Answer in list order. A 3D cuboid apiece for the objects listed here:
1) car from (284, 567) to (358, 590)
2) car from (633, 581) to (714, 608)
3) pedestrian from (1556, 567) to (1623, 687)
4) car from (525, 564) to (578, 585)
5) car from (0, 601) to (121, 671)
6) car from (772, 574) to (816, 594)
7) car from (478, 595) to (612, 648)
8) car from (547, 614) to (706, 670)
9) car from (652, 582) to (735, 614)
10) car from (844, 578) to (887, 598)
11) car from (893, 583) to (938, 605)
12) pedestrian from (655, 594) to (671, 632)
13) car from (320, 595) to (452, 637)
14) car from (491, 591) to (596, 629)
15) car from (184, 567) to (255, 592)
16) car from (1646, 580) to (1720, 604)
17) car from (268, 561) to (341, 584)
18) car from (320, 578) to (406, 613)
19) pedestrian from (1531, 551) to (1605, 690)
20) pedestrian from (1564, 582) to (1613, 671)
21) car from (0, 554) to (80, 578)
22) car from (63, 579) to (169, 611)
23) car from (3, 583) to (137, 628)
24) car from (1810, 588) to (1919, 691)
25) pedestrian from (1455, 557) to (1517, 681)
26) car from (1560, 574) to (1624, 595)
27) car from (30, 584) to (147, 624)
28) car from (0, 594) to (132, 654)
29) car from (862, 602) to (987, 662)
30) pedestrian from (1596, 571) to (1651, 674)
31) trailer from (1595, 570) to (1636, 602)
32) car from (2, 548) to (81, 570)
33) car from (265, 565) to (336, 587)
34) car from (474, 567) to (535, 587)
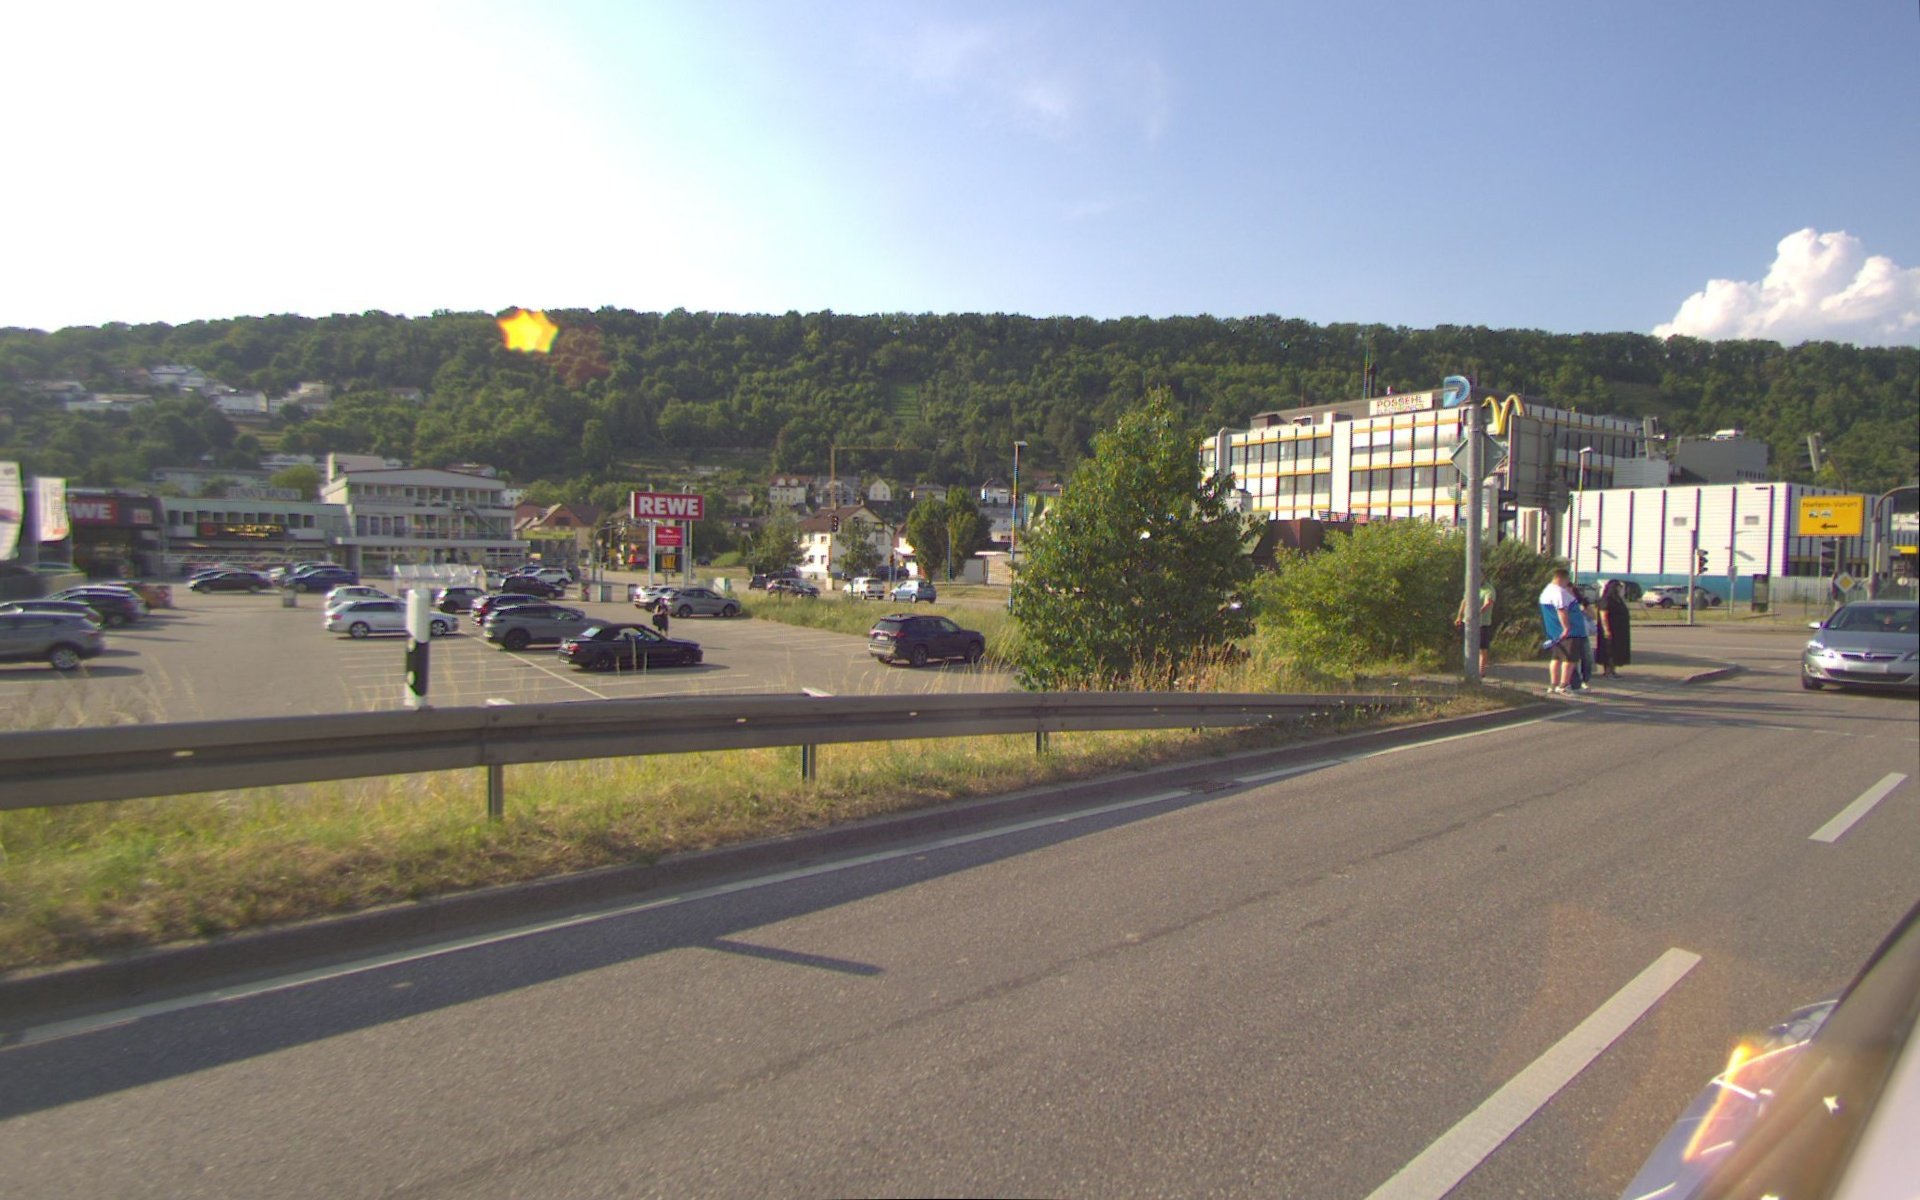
[{"bbox_3d":[-45.813,-1.548,72.546,4.265,1.582,1.835,-2,4,-41],"label":"car"},{"bbox_3d":[-17.375,-0.348,61.435,4.353,1.544,2.001,-1,1,-33],"label":"car"},{"bbox_3d":[9.286,0.375,14.942,0.622,1.703,0.596,-1,4,-41],"label":"pedestrian"},{"bbox_3d":[-35.105,-2.197,87.007,3.931,1.676,1.789,-2,1,-41],"label":"car"},{"bbox_3d":[-25.819,0.982,27.926,4.059,1.723,1.835,-2,4,-41],"label":"car"},{"bbox_3d":[-11.979,-1.171,73.003,2.893,1.369,1.344,-2,1,-39],"label":"car"},{"bbox_3d":[-15.225,0.738,37.149,4.259,1.750,2.001,-1,1,-32],"label":"car"},{"bbox_3d":[-10.276,1.251,31.302,4.266,1.390,1.999,-2,3,-39],"label":"car"},{"bbox_3d":[-14.998,-0.139,57.002,4.080,1.727,2.000,-2,1,-36],"label":"car"},{"bbox_3d":[-7.154,-0.890,76.119,1.657,1.438,3.654,-1,1,-34],"label":"car"},{"bbox_3d":[-3.142,-0.438,70.716,1.548,1.504,3.323,-1,1,-37],"label":"car"},{"bbox_3d":[-11.639,0.509,39.634,0.556,1.477,0.381,-1,1,-14],"label":"pedestrian"},{"bbox_3d":[-23.224,0.613,41.019,4.451,1.526,1.908,-2,1,-37],"label":"car"},{"bbox_3d":[-18.264,0.397,44.491,3.930,1.527,1.728,-2,1,-40],"label":"car"},{"bbox_3d":[-50.389,-1.416,68.905,3.834,1.582,1.837,-1,3,-37],"label":"car"},{"bbox_3d":[49.853,-0.564,69.811,3.830,1.523,1.879,-1,1,-4],"label":"car"},{"bbox_3d":[-48.121,-2.029,74.342,4.265,1.582,1.835,-2,4,-41],"label":"car"},{"bbox_3d":[-31.850,-0.277,54.025,3.691,1.771,1.802,-2,1,-39],"label":"car"},{"bbox_3d":[8.680,0.269,14.441,0.846,1.906,0.620,-1,3,-41],"label":"pedestrian"},{"bbox_3d":[10.646,0.434,17.139,0.612,1.475,0.572,-1,1,-44],"label":"pedestrian"},{"bbox_3d":[-66.343,-2.455,72.834,4.506,1.607,1.835,-2,4,-41],"label":"car"},{"bbox_3d":[-41.170,-0.266,49.481,3.929,1.527,1.728,-1,1,-40],"label":"car"},{"bbox_3d":[-37.221,0.184,42.473,4.052,1.723,1.838,-1,3,-36],"label":"car"},{"bbox_3d":[15.160,0.559,16.205,3.814,1.408,1.690,-2,3,-39],"label":"car"},{"bbox_3d":[7.825,0.268,15.065,0.527,1.770,0.533,-1,5,-35],"label":"pedestrian"},{"bbox_3d":[46.535,-1.123,74.556,3.699,1.473,1.700,-1,1,-7],"label":"car"},{"bbox_3d":[-38.711,0.127,45.092,3.872,1.582,1.836,-1,4,-40],"label":"car"},{"bbox_3d":[-29.628,0.751,32.945,4.059,1.723,1.835,-2,4,-41],"label":"car"},{"bbox_3d":[-1.161,1.020,34.309,4.062,1.723,1.834,-2,4,-44],"label":"car"},{"bbox_3d":[11.008,0.352,16.791,0.612,1.634,0.572,-1,4,-44],"label":"pedestrian"},{"bbox_3d":[42.613,-0.954,65.825,1.331,1.971,3.460,3,2,18],"label":"trailer"},{"bbox_3d":[-68.042,-3.049,75.093,4.265,1.582,1.835,-2,4,-41],"label":"car"},{"bbox_3d":[-50.033,-1.838,76.818,4.265,1.582,1.835,-2,4,-41],"label":"car"},{"bbox_3d":[-37.227,-1.911,82.794,4.265,1.582,1.835,-2,4,-41],"label":"car"}]
